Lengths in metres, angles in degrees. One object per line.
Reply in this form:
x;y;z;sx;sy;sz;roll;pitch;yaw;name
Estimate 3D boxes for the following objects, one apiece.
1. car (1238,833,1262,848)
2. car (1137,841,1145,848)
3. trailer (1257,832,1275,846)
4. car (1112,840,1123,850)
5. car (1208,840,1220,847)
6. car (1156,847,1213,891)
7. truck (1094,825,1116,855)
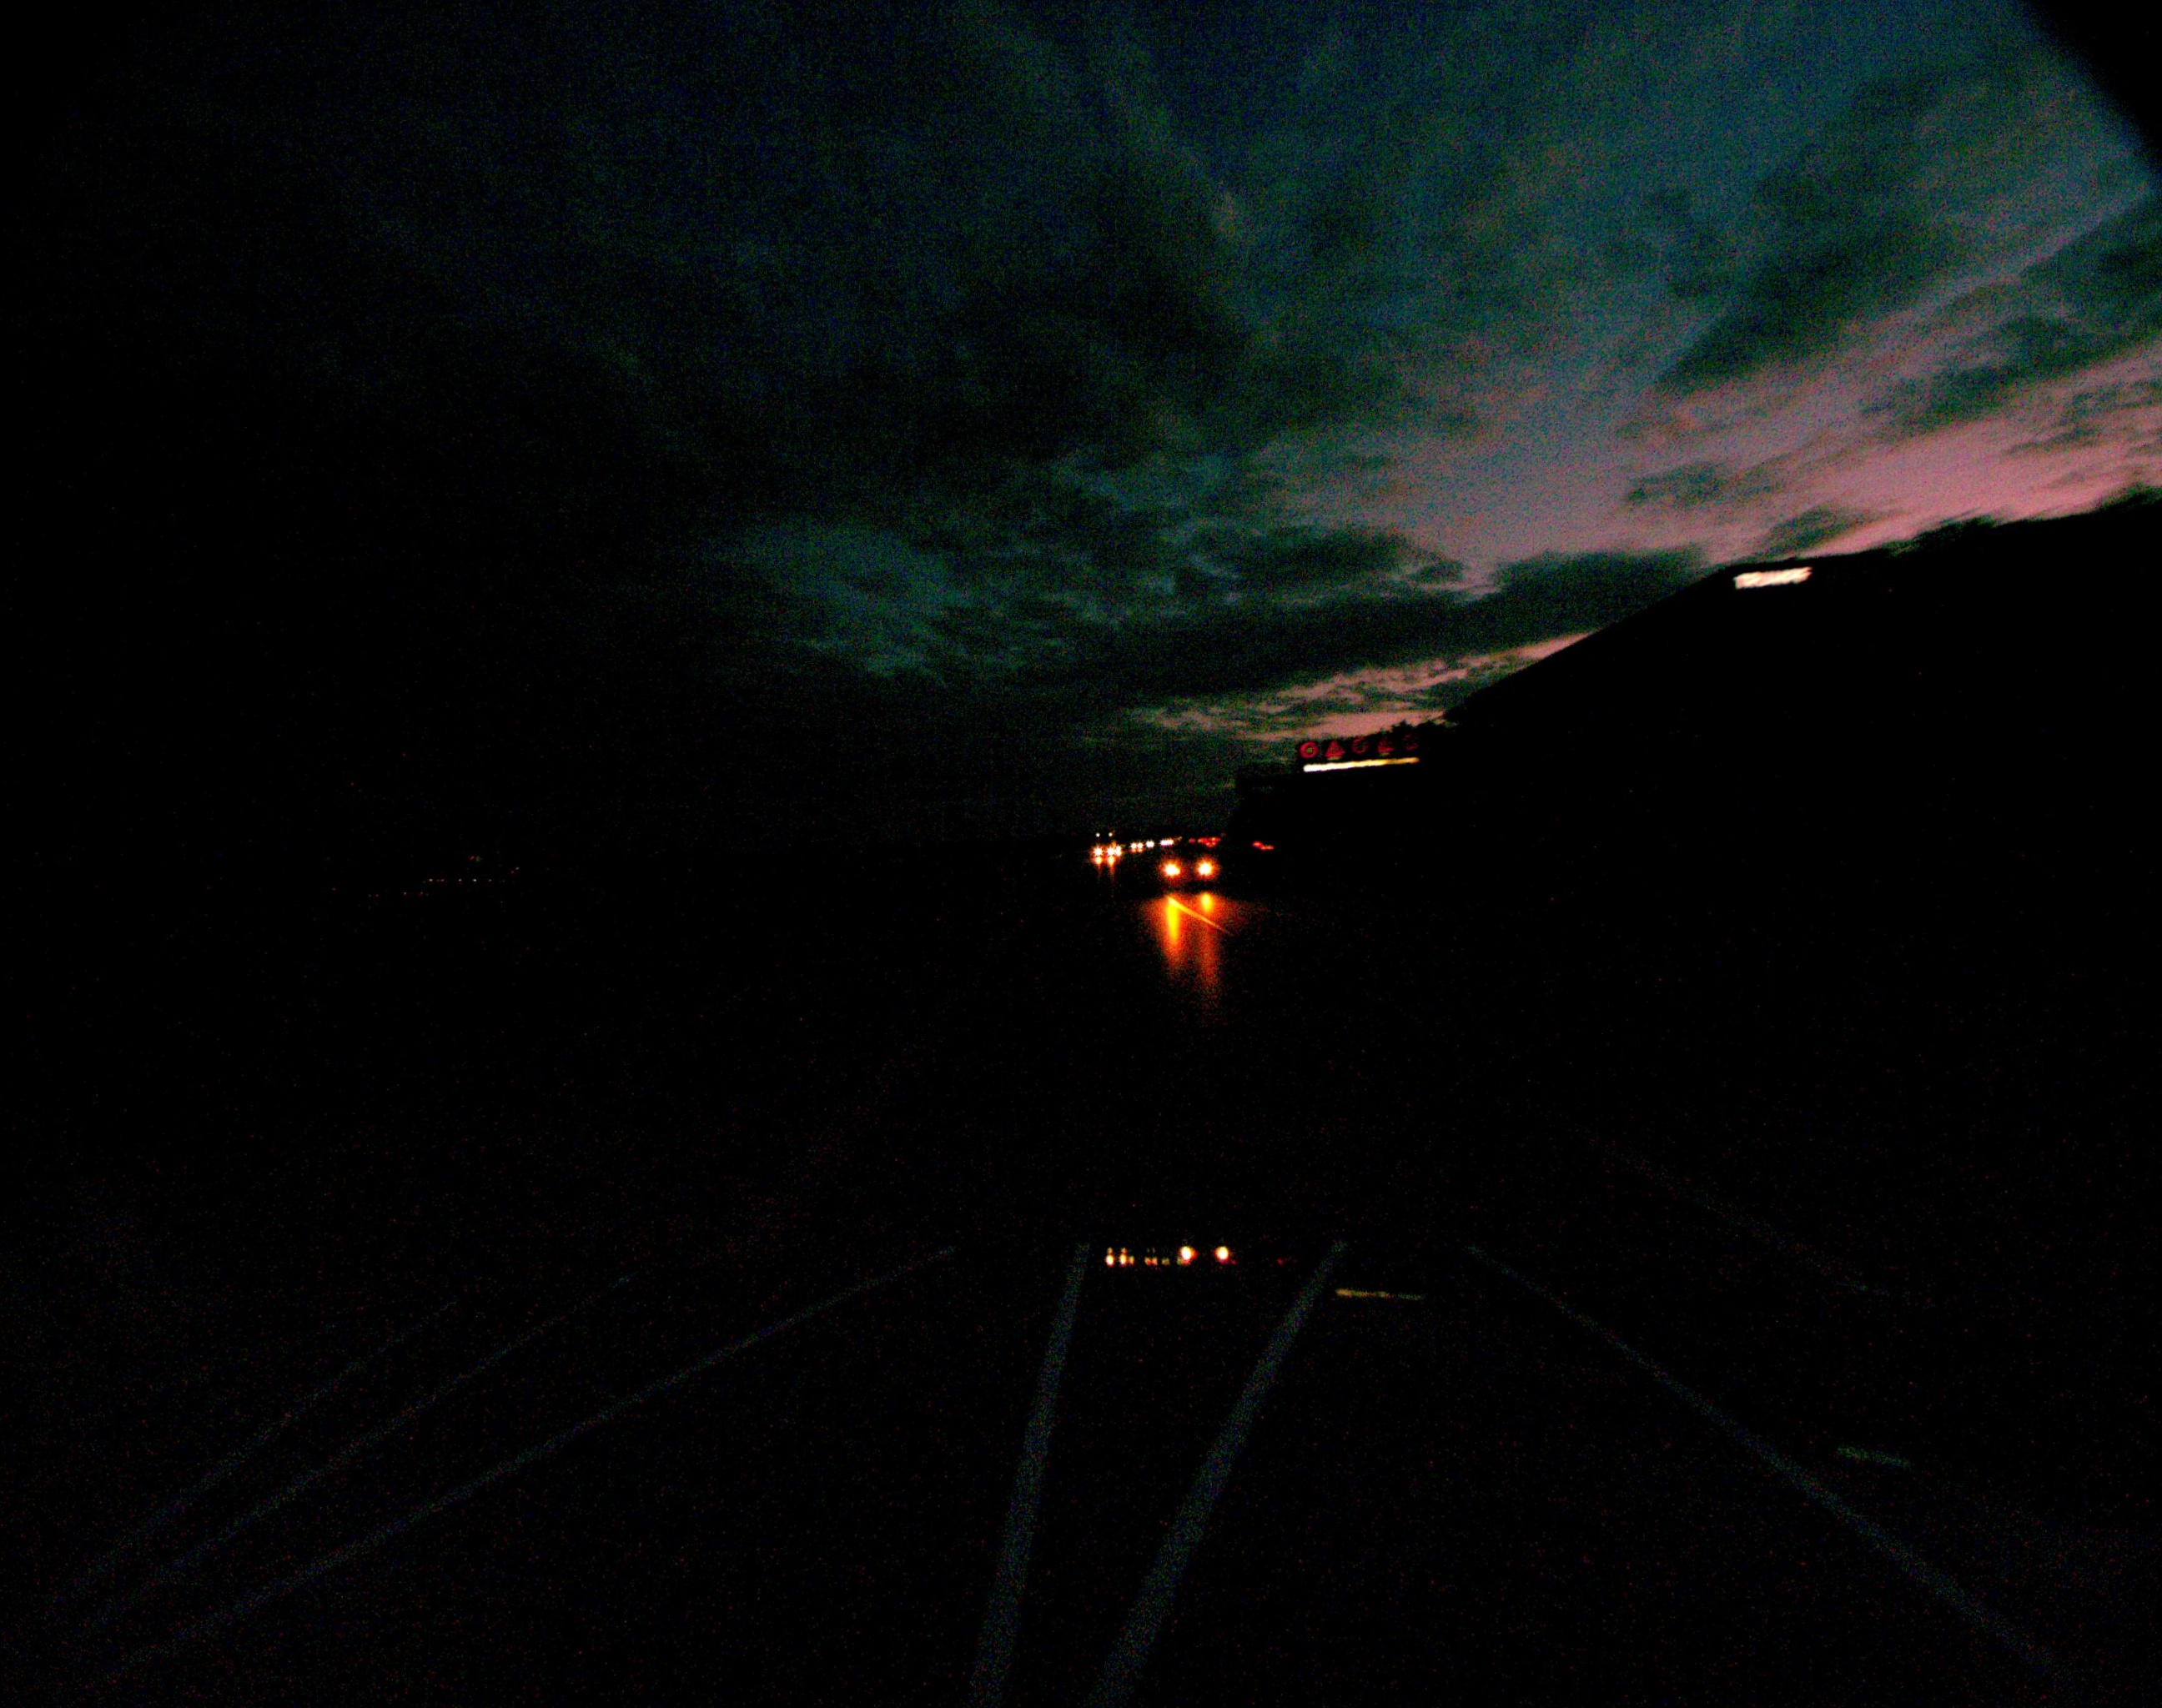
22.367;-1.825;100.764;1.917;1.857;6.014;-3;1;1;car
14.852;-2.285;188.930;1.653;1.655;3.774;-3;1;1;car
28.281;-2.241;116.252;1.917;1.991;4.241;-4;0;3;trailer
8.192;-1.985;170.409;1.998;2.002;4.000;-3;1;5;car
27.425;-2.122;157.066;1.693;1.346;4.897;-3;1;3;car
4.004;0.532;29.896;1.717;1.471;3.999;-3;1;1;car
3.767;-2.214;118.184;3.026;4.373;11.614;-3;1;3;truck
